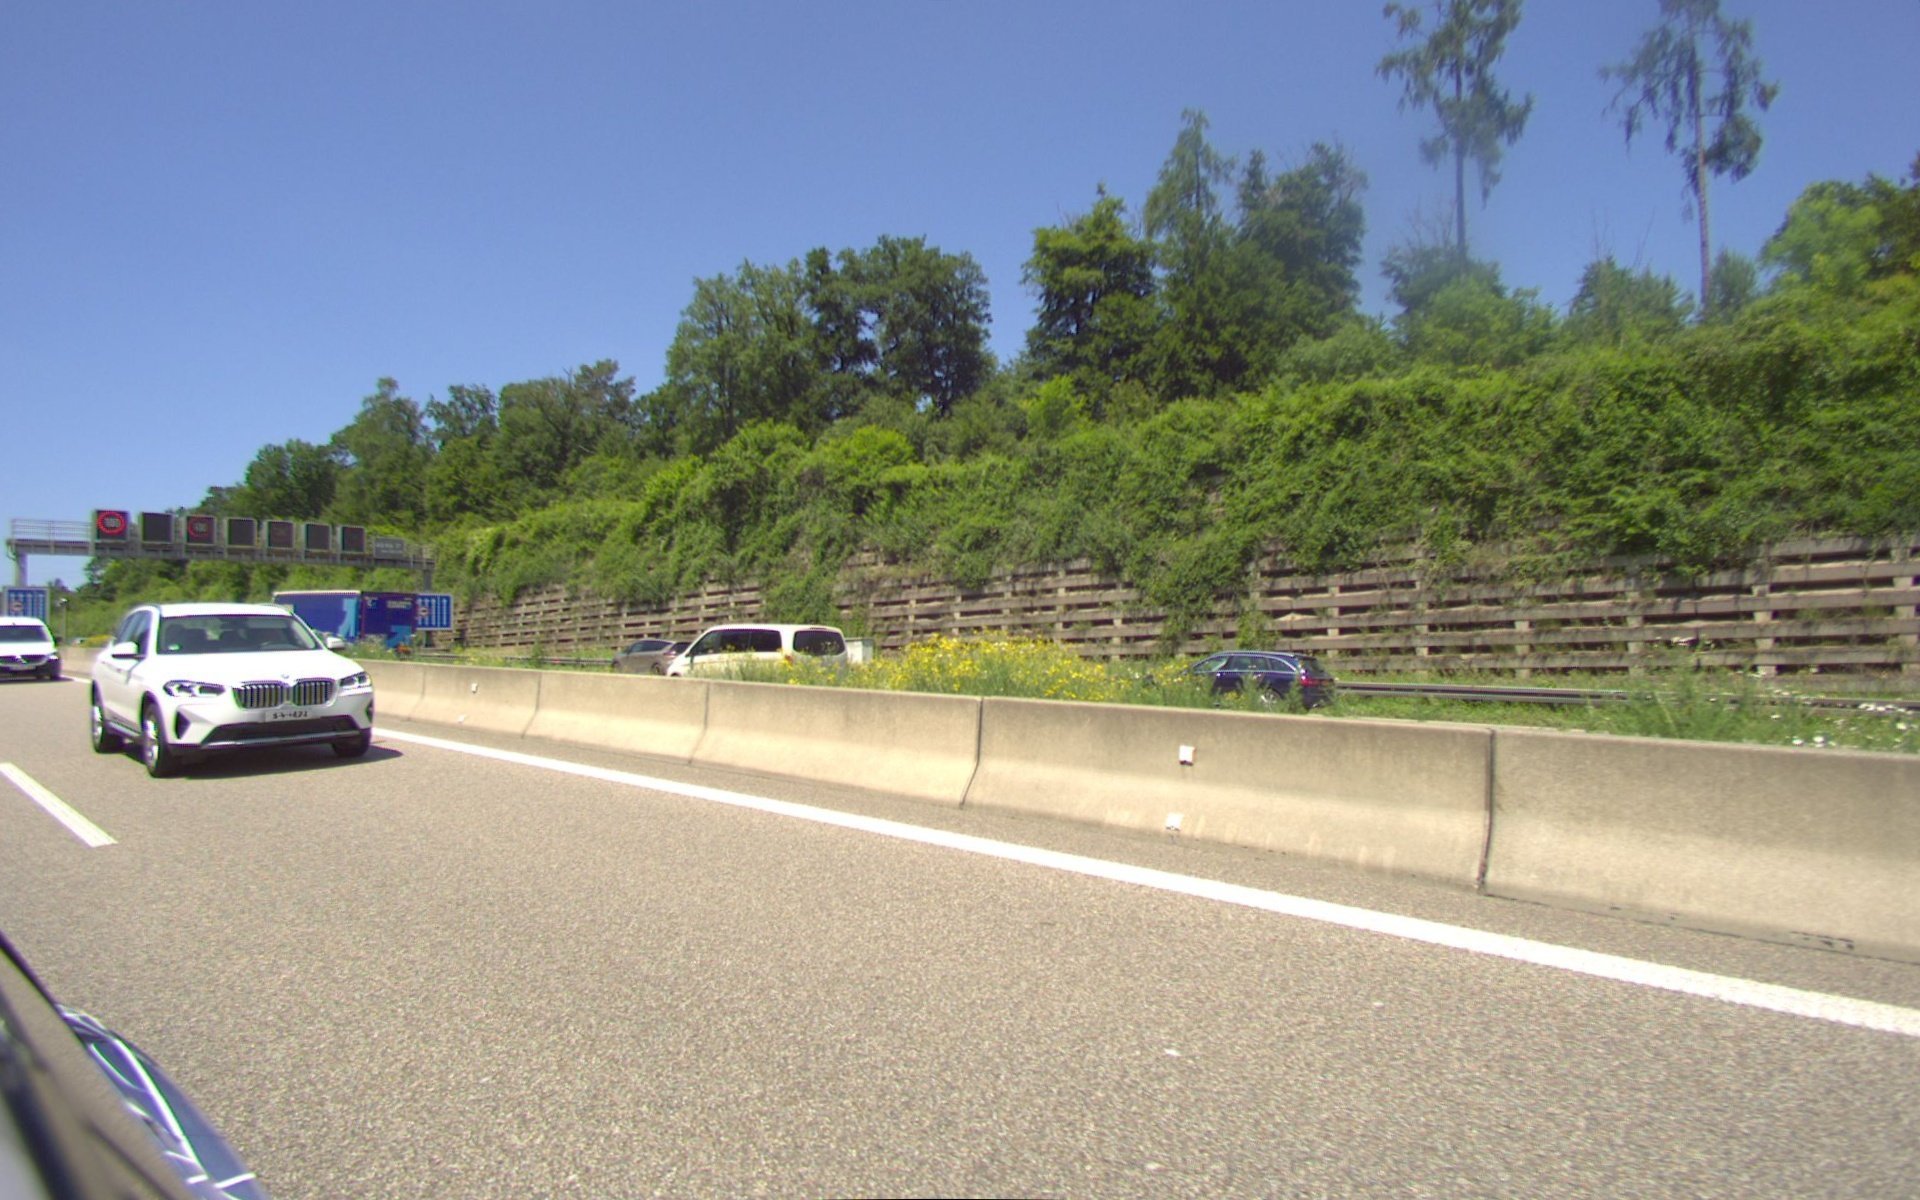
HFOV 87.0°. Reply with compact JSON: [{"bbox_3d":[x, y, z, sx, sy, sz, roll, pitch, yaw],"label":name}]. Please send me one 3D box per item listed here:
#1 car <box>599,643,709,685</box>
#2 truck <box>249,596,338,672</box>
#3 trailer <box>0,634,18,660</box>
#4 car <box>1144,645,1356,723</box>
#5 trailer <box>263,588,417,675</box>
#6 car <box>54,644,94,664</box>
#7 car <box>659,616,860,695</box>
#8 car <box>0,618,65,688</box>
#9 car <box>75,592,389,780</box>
[{"bbox_3d":[-11.432,2.343,37.606,4.921,1.464,1.640,-3,-2,42],"label":"car"},{"bbox_3d":[-37.454,1.929,56.796,5.927,4.061,2.652,-3,-2,41],"label":"truck"},{"bbox_3d":[-164.510,8.084,173.907,14.468,4.239,2.944,-3,-5,44],"label":"trailer"},{"bbox_3d":[6.499,1.821,22.929,4.201,1.533,1.917,-2,-3,41],"label":"car"},{"bbox_3d":[-32.319,1.705,52.325,14.179,4.046,2.652,-3,-2,41],"label":"trailer"},{"bbox_3d":[-70.506,4.300,80.522,4.371,1.537,1.878,-3,-4,42],"label":"car"},{"bbox_3d":[-4.709,1.240,23.199,5.076,1.619,1.872,-3,-2,42],"label":"car"},{"bbox_3d":[-26.487,1.468,28.107,4.500,1.788,1.972,-3,0,43],"label":"car"},{"bbox_3d":[-8.090,0.845,11.084,4.366,1.656,1.826,-3,-2,41],"label":"car"}]
